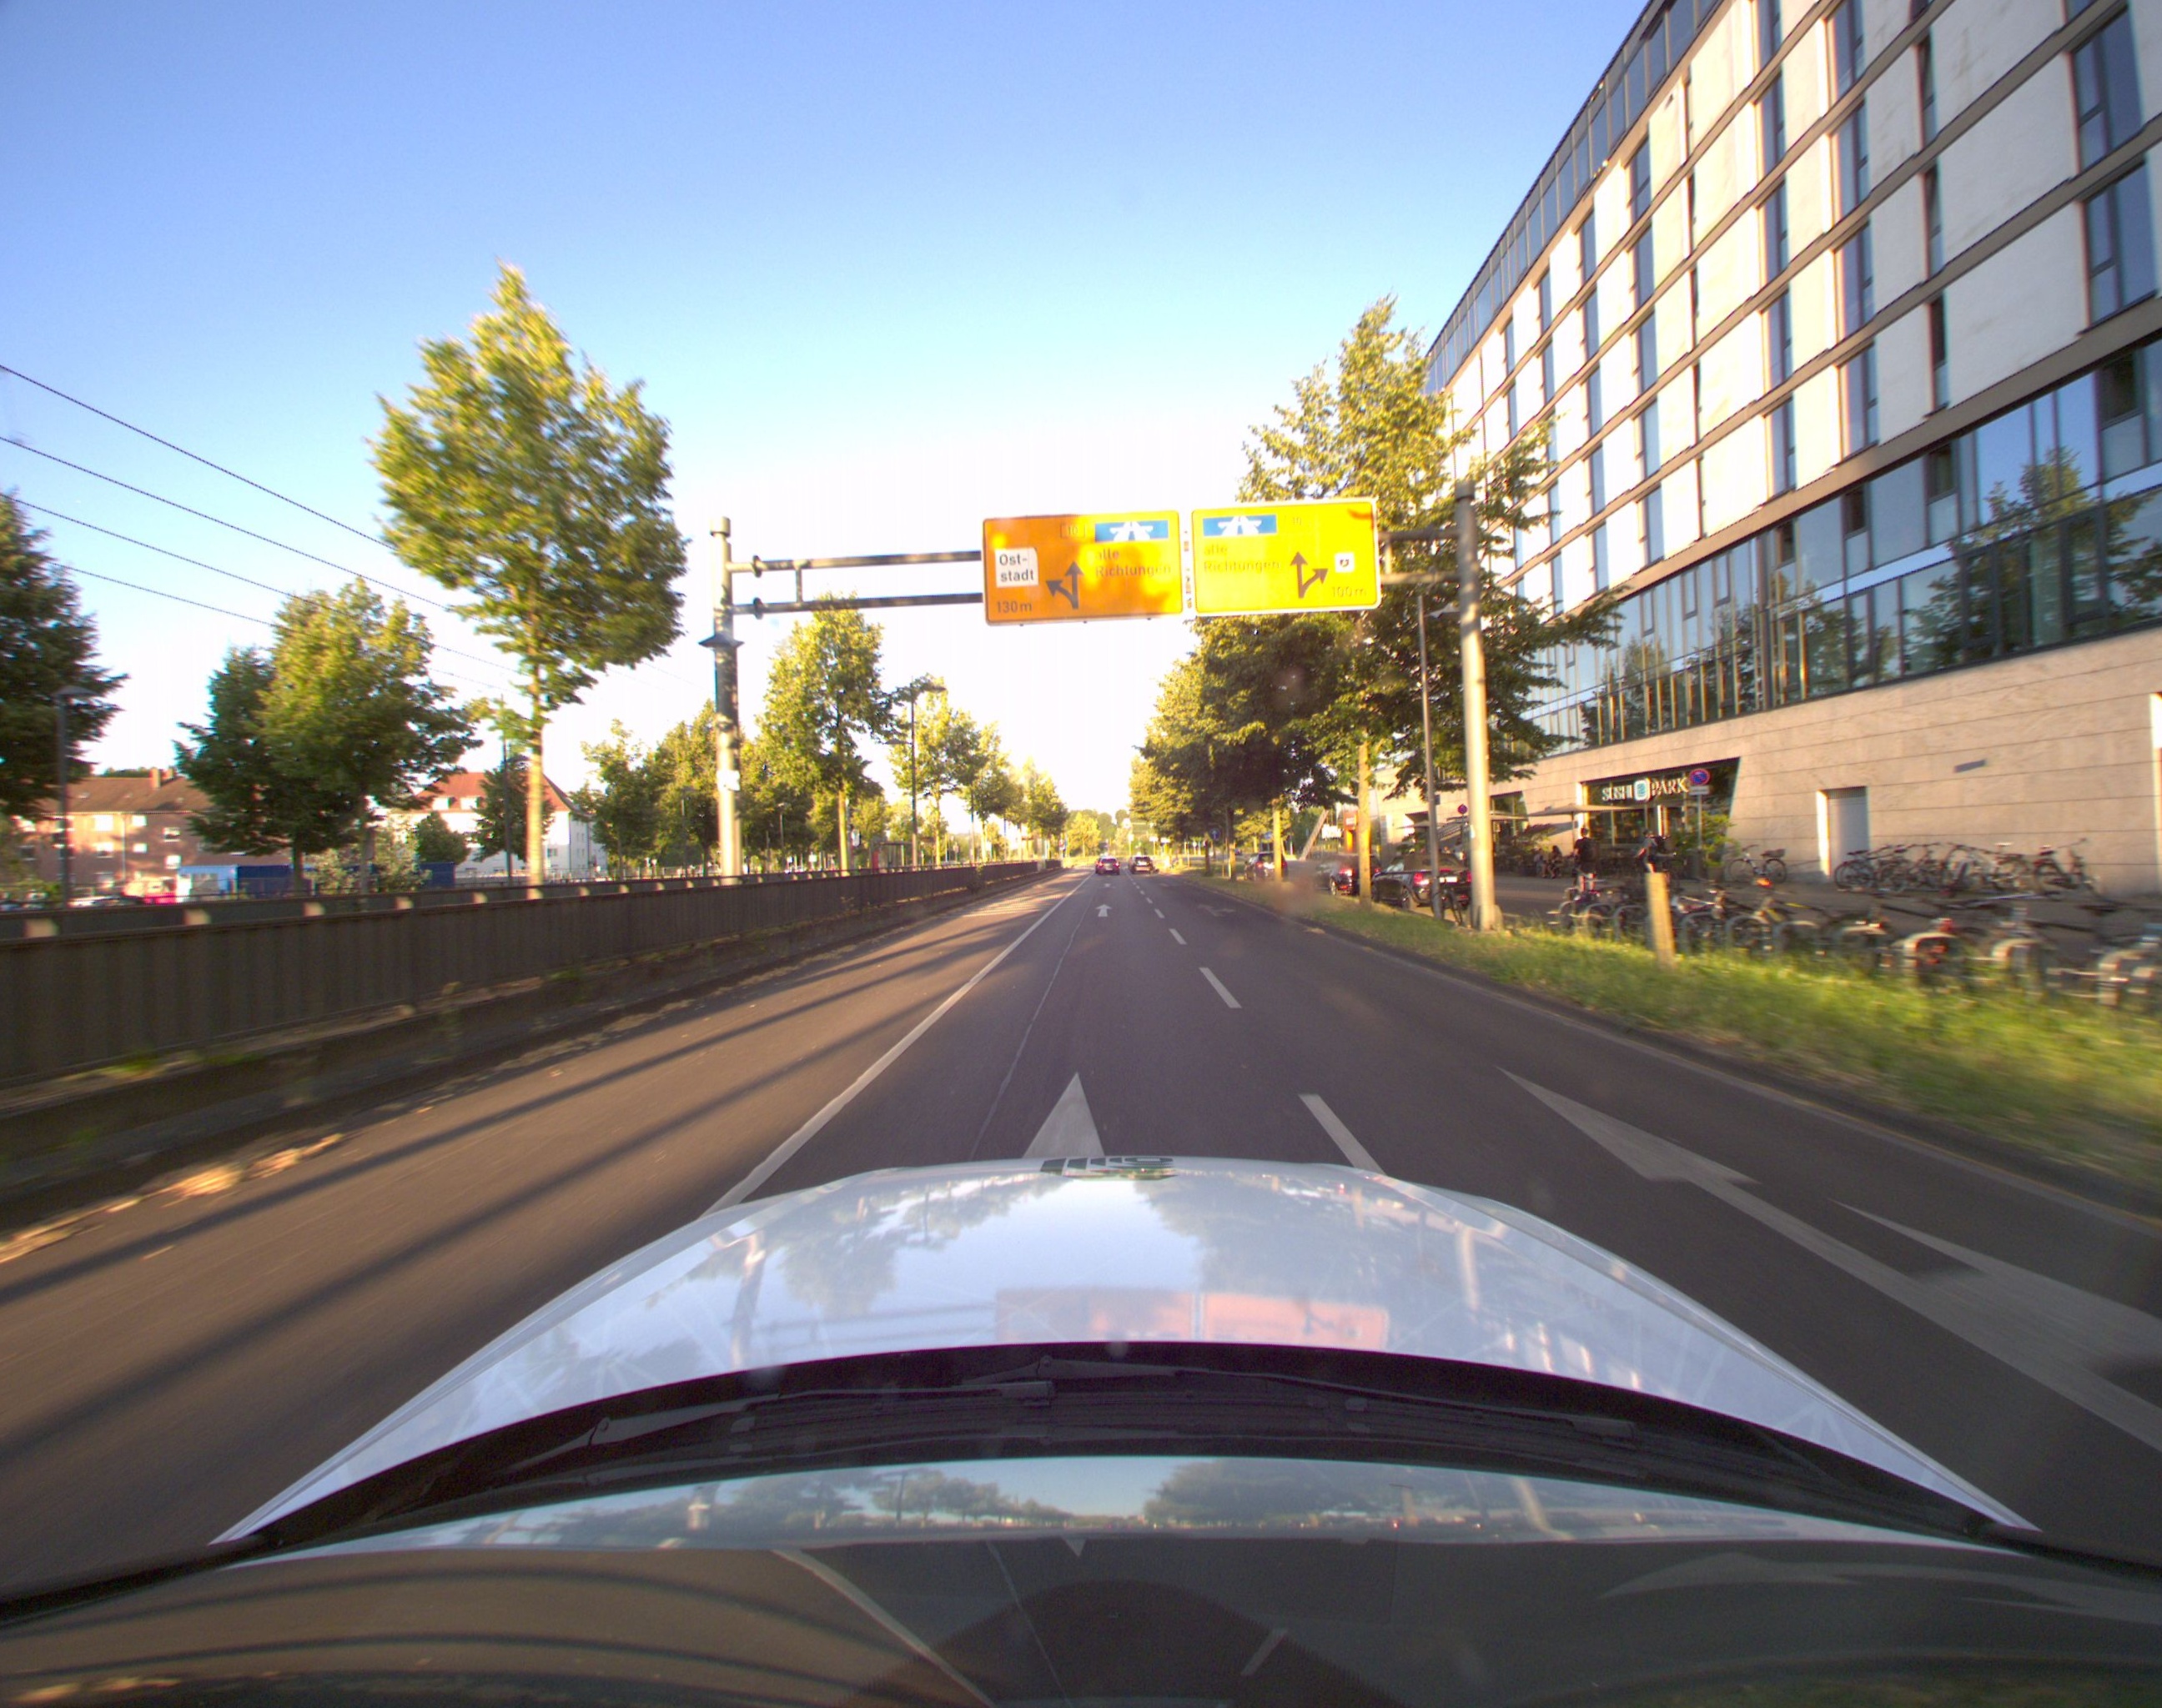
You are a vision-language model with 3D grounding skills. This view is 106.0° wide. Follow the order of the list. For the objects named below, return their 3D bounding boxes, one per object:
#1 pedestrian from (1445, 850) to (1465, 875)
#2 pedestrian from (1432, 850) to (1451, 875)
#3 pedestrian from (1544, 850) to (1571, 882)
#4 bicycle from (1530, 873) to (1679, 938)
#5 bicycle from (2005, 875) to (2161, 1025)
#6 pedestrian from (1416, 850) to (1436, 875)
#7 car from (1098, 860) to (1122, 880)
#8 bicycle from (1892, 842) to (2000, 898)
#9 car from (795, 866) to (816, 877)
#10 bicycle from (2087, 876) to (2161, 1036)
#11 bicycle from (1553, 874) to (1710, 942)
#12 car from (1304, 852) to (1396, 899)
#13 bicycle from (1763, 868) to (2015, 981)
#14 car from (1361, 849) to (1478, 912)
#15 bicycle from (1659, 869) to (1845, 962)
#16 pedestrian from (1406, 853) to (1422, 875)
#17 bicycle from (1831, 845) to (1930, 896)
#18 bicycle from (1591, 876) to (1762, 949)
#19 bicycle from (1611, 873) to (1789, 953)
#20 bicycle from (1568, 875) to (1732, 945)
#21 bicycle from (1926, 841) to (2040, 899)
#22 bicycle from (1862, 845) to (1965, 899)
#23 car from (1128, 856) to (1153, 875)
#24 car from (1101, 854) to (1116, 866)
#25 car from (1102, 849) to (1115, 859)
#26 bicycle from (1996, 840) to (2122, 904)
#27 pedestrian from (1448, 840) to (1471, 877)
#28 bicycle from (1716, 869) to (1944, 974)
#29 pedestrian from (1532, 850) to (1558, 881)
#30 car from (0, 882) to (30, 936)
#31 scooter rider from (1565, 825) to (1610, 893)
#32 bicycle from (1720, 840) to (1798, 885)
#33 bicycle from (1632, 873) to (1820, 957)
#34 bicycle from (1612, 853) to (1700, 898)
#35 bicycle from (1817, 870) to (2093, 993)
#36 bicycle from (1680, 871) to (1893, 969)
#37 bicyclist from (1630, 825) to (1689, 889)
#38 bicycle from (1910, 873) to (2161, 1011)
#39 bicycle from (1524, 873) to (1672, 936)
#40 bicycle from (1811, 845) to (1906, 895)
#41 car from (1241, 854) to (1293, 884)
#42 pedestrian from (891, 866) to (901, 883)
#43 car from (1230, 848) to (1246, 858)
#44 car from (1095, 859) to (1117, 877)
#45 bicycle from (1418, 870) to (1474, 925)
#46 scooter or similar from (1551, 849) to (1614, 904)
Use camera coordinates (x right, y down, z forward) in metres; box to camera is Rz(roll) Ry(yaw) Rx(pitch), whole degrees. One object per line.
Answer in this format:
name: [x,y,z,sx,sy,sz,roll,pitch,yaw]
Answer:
pedestrian: [19.613,0.455,42.687,0.580,1.283,0.735,-2,-1,-16]
pedestrian: [18.885,0.462,42.679,0.577,1.283,0.738,-2,-1,-2]
pedestrian: [18.183,0.449,31.091,0.569,1.195,0.807,-2,-1,4]
bicycle: [8.189,0.799,12.758,2.138,0.939,0.442,2,0,-5]
bicycle: [8.082,0.718,6.138,1.938,1.054,0.404,2,-1,-5]
pedestrian: [18.245,0.465,43.049,0.627,1.283,0.712,-2,-1,-20]
car: [2.333,1.258,66.145,1.905,1.486,4.001,-2,0,1]
bicycle: [18.170,0.339,17.120,1.780,1.104,0.508,-2,-1,-3]
car: [-45.654,2.850,134.963,1.986,1.662,4.002,-2,0,2]
bicycle: [8.141,0.708,5.674,1.938,1.054,0.404,2,-1,-5]
bicycle: [8.237,0.801,12.207,2.138,0.939,0.442,2,0,-5]
car: [9.243,0.706,28.371,1.772,1.472,4.288,-2,0,0]
bicycle: [8.179,0.706,8.272,2.138,1.054,0.570,2,0,-5]
car: [8.741,0.644,21.387,1.569,1.472,3.884,-2,0,3]
bicycle: [8.147,0.744,9.895,2.138,1.054,0.300,2,-1,-5]
pedestrian: [18.925,0.575,46.301,0.569,1.186,0.862,-2,-1,3]
bicycle: [18.248,0.373,18.598,1.780,1.104,0.508,-2,-1,-3]
bicycle: [8.220,0.805,11.265,2.138,0.939,0.442,2,0,-5]
bicycle: [8.197,0.777,10.802,2.138,0.973,0.442,2,0,-5]
bicycle: [8.194,0.806,11.749,2.138,0.939,0.451,2,0,-5]
bicycle: [18.260,0.320,16.498,1.780,1.104,0.508,-2,-1,-3]
bicycle: [18.179,0.380,17.791,1.780,1.104,0.508,-2,-1,-3]
car: [5.067,0.982,69.319,1.905,1.486,4.001,-2,0,1]
car: [3.669,0.772,107.481,1.905,1.486,4.001,-2,0,1]
car: [4.144,0.036,124.153,1.905,1.486,4.001,-2,0,1]
bicycle: [18.126,0.331,15.108,1.780,1.104,0.508,-2,-1,-3]
pedestrian: [18.226,0.235,39.197,0.707,1.737,0.683,-2,-1,-28]
bicycle: [8.135,0.723,8.872,2.138,1.054,0.524,2,0,-5]
pedestrian: [18.248,0.442,32.033,0.569,1.195,0.807,-2,-1,2]
car: [-45.593,2.316,32.084,2.425,2.224,5.875,-2,-1,-22]
scooter rider: [12.590,0.124,20.263,0.524,1.638,0.832,-2,-1,0]
bicycle: [19.103,0.233,22.999,0.467,1.208,2.266,-2,-1,6]
bicycle: [8.149,0.768,10.303,2.138,0.987,0.442,2,0,-5]
bicycle: [14.872,0.545,21.141,0.769,1.079,2.063,-2,0,0]
bicycle: [8.158,0.711,7.632,2.138,1.054,0.561,2,0,-5]
bicycle: [8.152,0.754,9.435,2.138,1.054,0.524,2,0,-5]
bicyclist: [14.856,0.074,20.935,0.769,1.566,0.992,-2,-1,-1]
bicycle: [8.166,0.716,6.757,2.138,1.054,0.570,2,0,-5]
bicycle: [8.417,0.819,13.278,2.138,0.939,0.544,2,0,-5]
bicycle: [18.276,0.370,19.153,1.780,1.104,0.508,-2,-1,-3]
car: [9.882,0.800,43.543,1.751,1.466,4.157,-2,0,0]
pedestrian: [-14.682,1.614,64.755,0.613,1.319,0.744,-2,-1,-1]
car: [30.567,-0.197,158.340,1.975,1.728,4.024,-2,-1,27]
car: [2.204,1.186,72.649,1.905,1.486,4.001,-2,0,1]
bicycle: [7.072,0.817,15.856,0.317,0.980,1.848,-2,-1,3]
scooter or similar: [12.598,0.558,20.509,0.524,1.310,1.664,-2,0,0]
